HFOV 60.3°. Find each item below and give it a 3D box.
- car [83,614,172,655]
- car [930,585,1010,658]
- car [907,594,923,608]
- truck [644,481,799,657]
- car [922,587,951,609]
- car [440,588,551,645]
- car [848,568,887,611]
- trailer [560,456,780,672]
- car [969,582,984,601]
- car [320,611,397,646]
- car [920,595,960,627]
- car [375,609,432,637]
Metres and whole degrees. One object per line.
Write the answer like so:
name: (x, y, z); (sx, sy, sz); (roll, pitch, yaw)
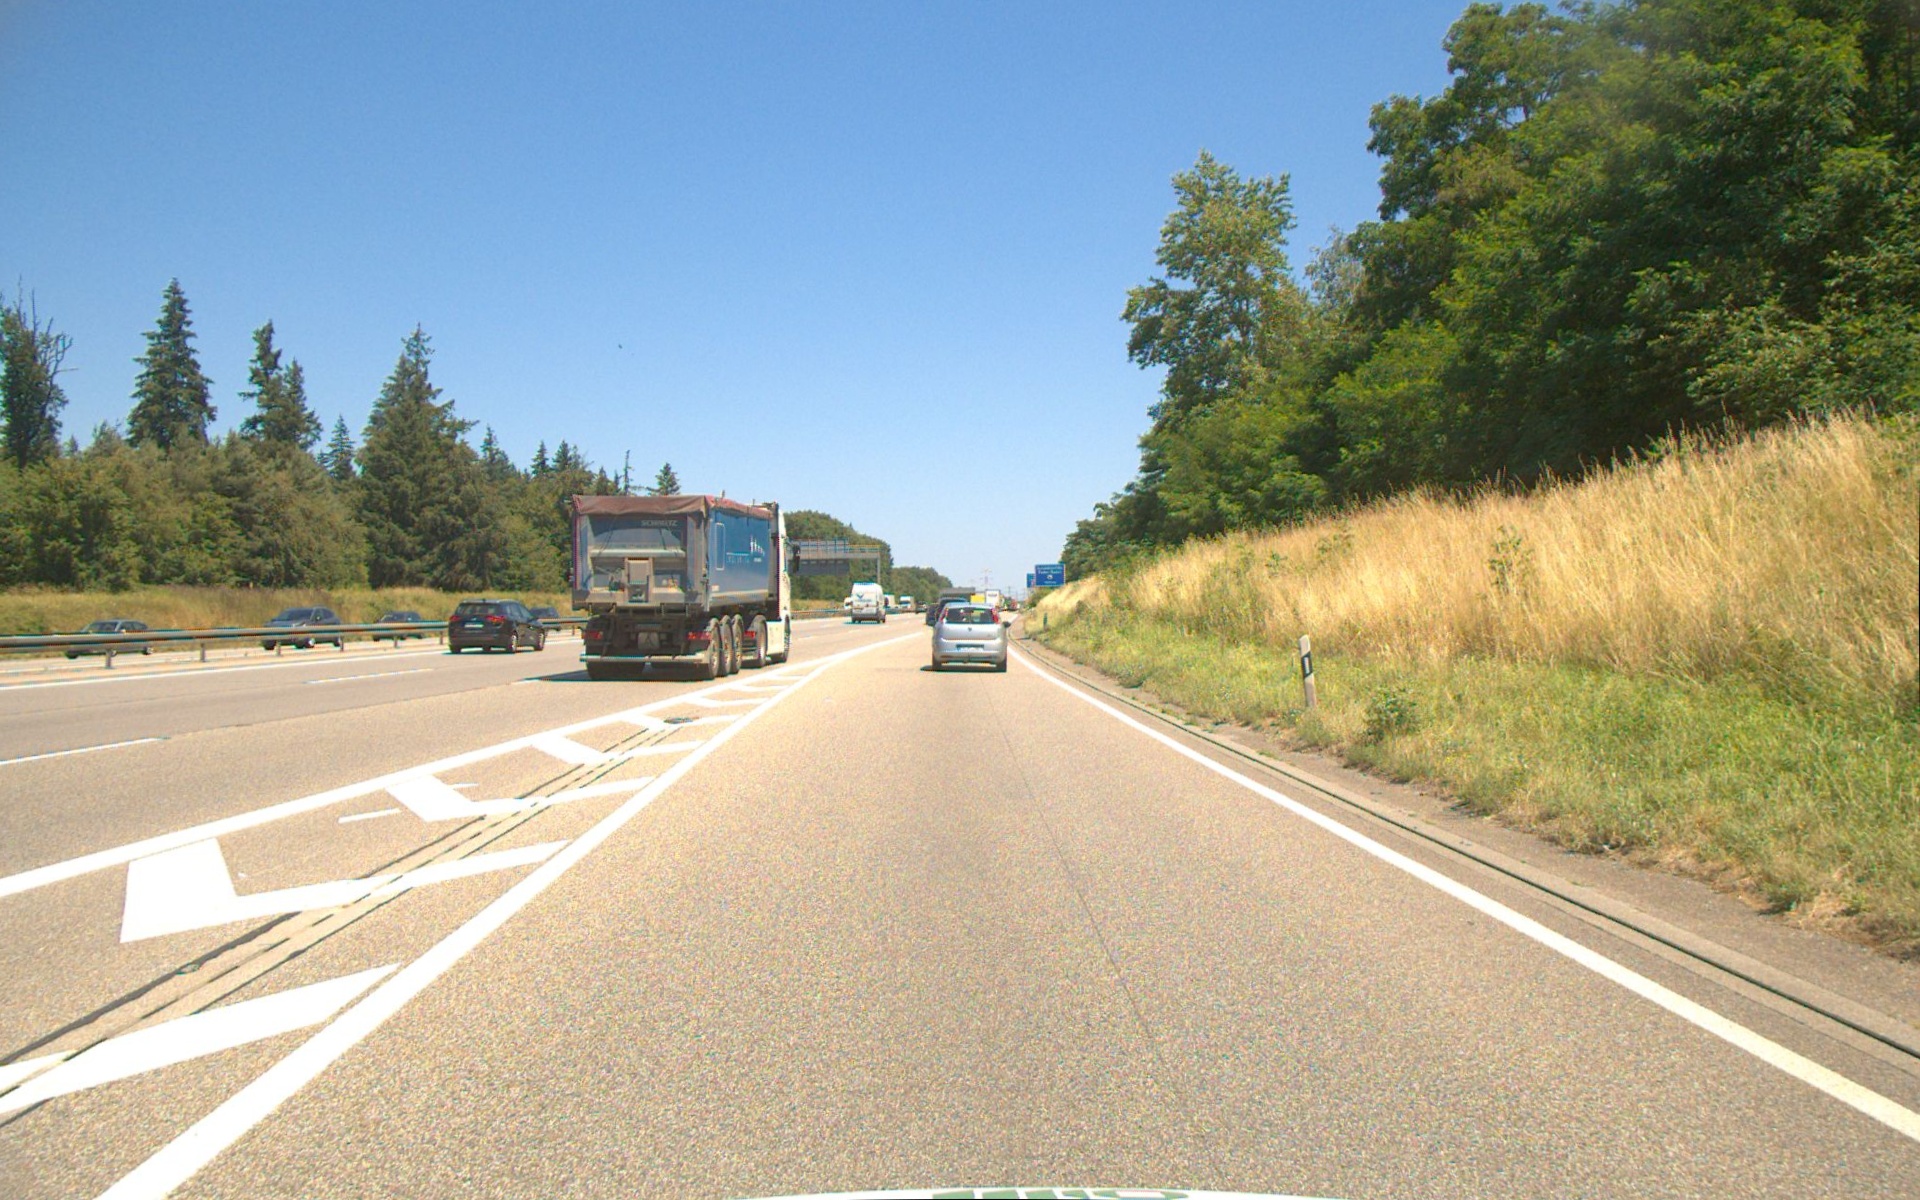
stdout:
car: (-32.846, 1.346, 65.320); (1.587, 1.503, 3.568); (-1, 0, 3)
car: (0.232, 0.443, 36.839); (1.684, 1.517, 3.737); (0, 0, 0)
car: (-6.280, 0.117, 231.946); (2.112, 1.846, 4.860); (0, 0, 0)
truck: (-5.506, -0.681, 39.147); (2.629, 3.824, 5.945); (0, 0, 1)
car: (-1.622, -0.132, 114.328); (1.855, 1.495, 4.262); (1, 0, 1)
car: (-13.069, 0.422, 46.786); (1.668, 1.500, 4.598); (-1, 0, 2)
car: (-6.537, -0.722, 117.456); (2.213, 3.002, 6.114); (1, 0, 1)
trailer: (-5.660, -0.650, 33.989); (2.680, 3.824, 9.110); (0, 0, 1)
car: (1.767, -0.882, 178.812); (1.578, 2.049, 4.001); (1, 0, 1)
car: (-23.582, 1.097, 64.923); (1.587, 1.282, 3.568); (-1, 0, 3)
car: (-1.054, 0.617, 90.775); (1.793, 1.701, 4.002); (1, -1, 5)
car: (-31.090, 1.268, 92.446); (1.526, 1.554, 4.002); (1, 0, 5)
